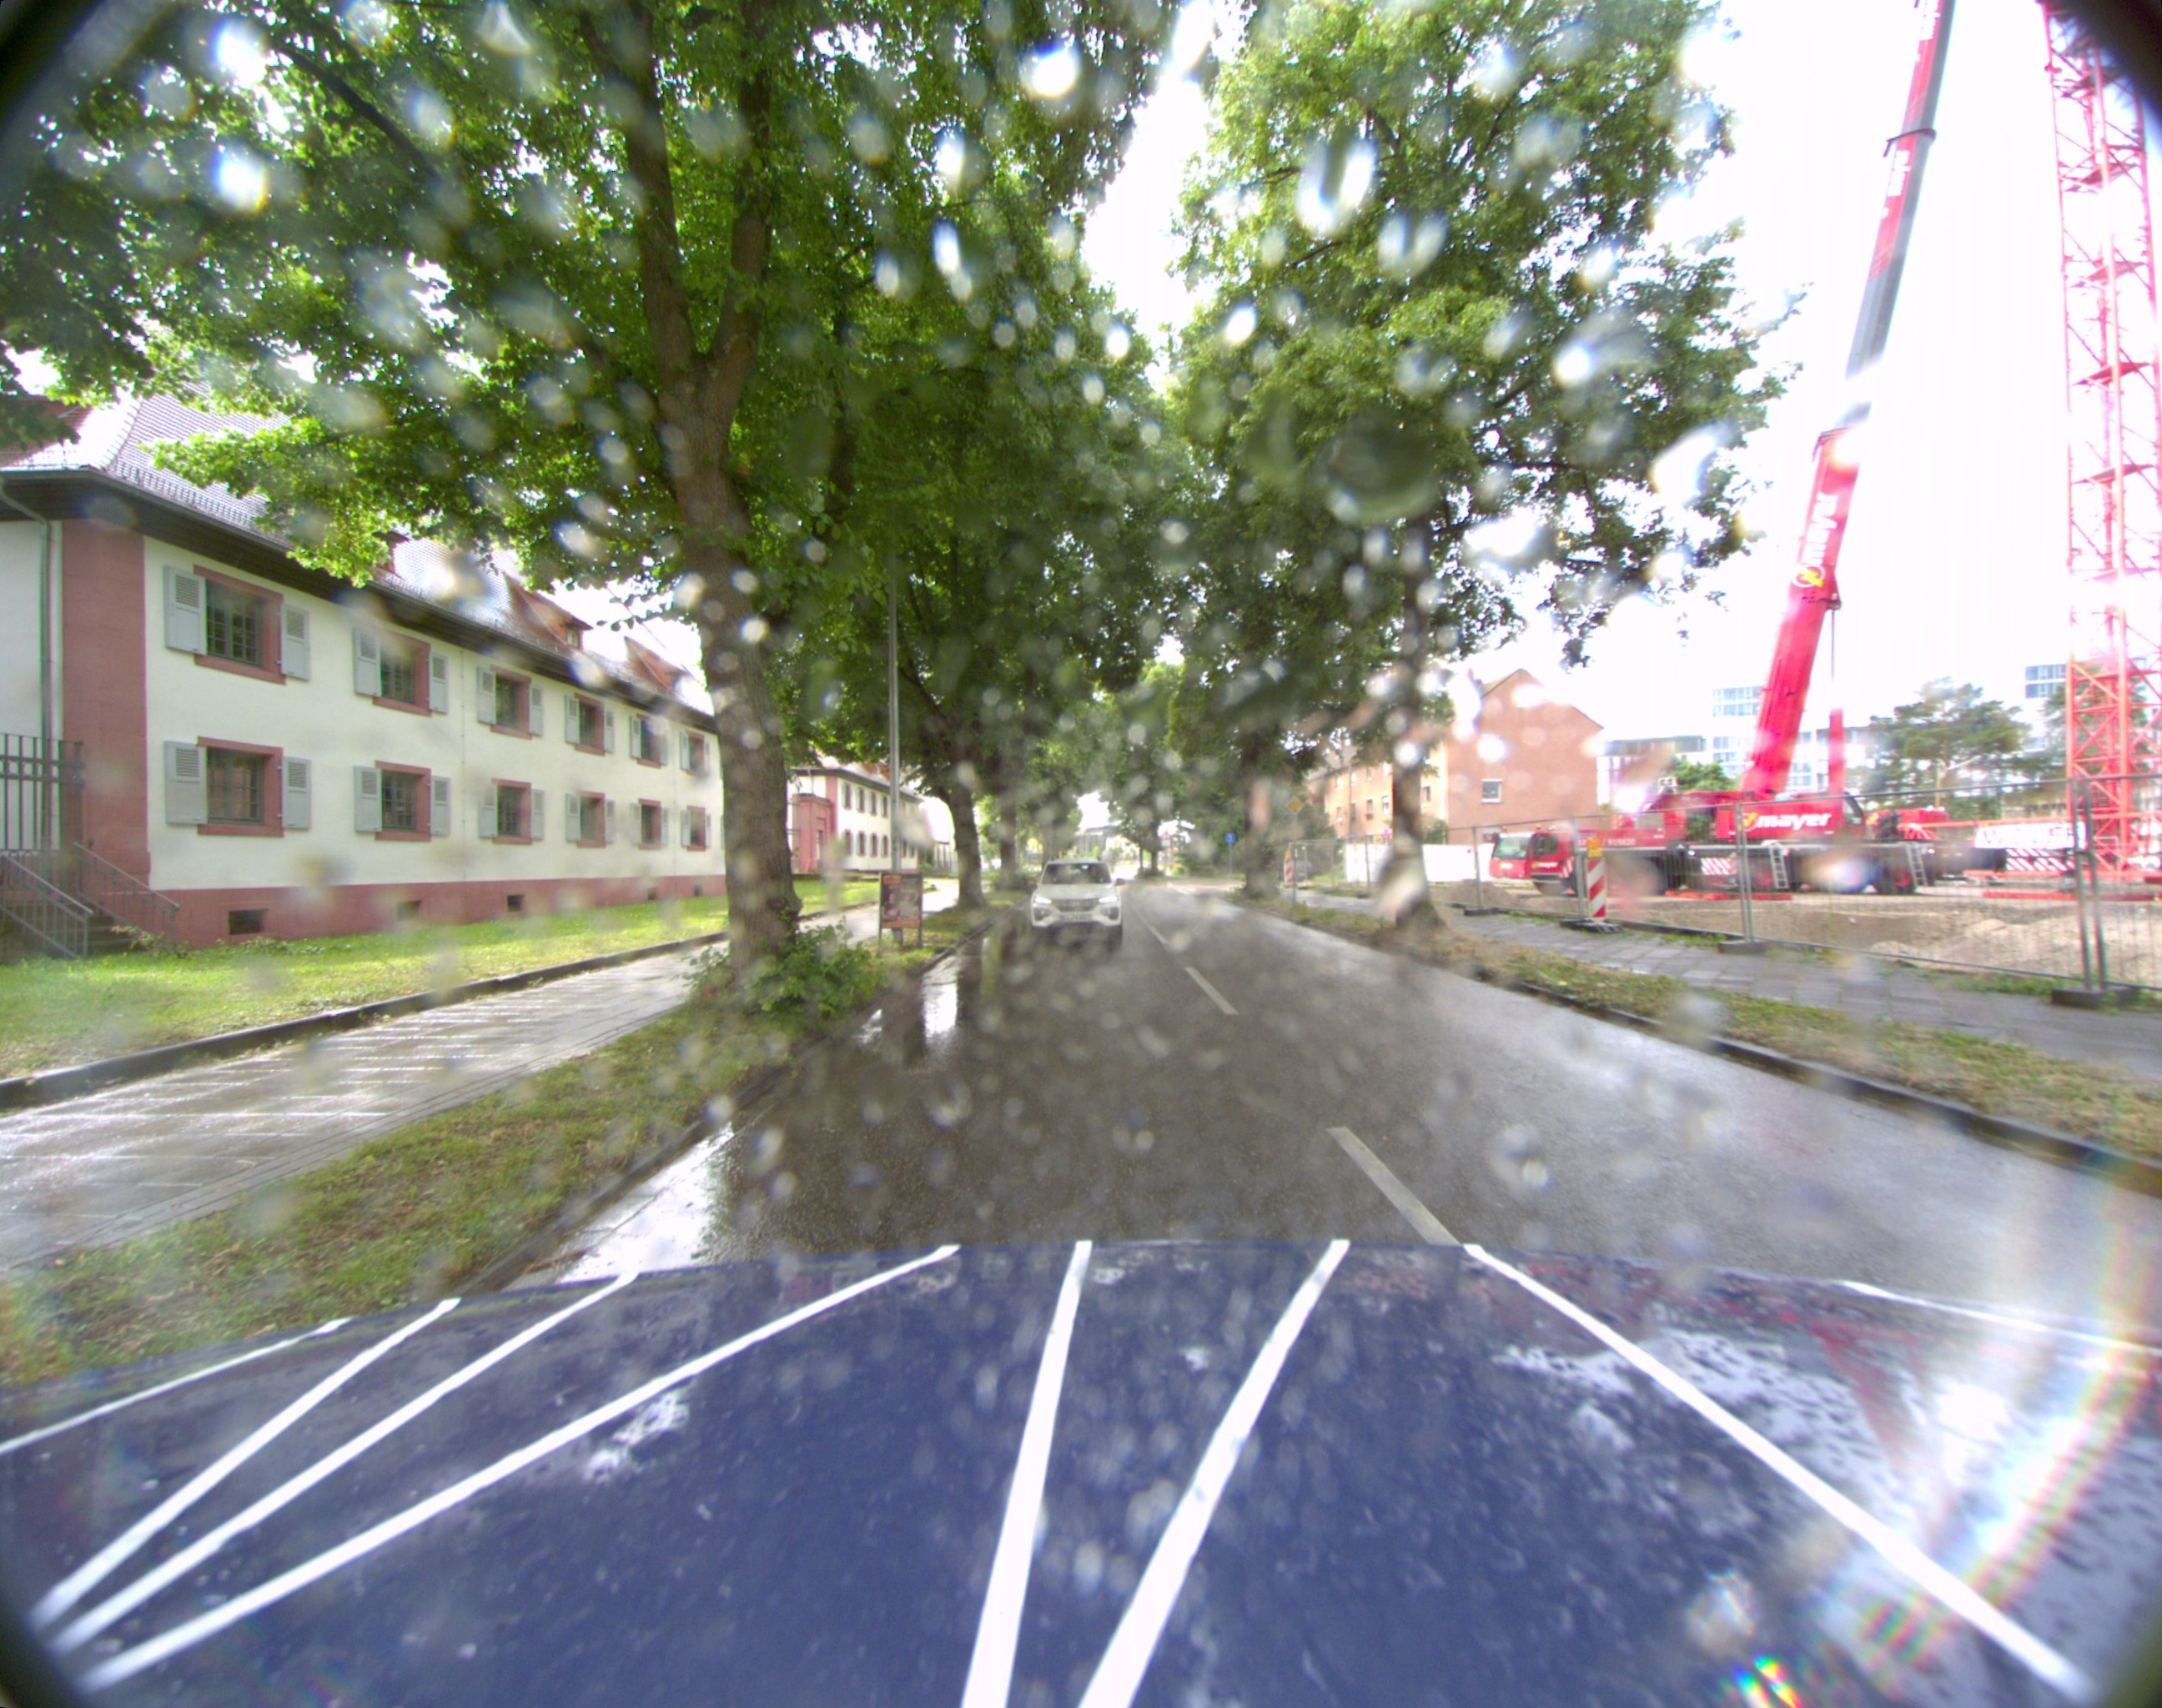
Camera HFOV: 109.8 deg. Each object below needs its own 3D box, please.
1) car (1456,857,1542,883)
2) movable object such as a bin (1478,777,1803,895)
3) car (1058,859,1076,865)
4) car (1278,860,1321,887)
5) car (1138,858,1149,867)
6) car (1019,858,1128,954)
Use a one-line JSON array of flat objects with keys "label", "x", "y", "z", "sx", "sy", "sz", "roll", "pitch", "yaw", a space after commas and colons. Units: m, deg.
[{"label": "car", "x": 23.659, "y": 0.893, "z": 43.050, "sx": 4.067, "sy": 1.405, "sz": 1.726, "roll": 0, "pitch": 0, "yaw": -11}, {"label": "movable object such as a bin", "x": 21.225, "y": -0.616, "z": 29.386, "sx": 9.834, "sy": 4.090, "sz": 3.367, "roll": -1, "pitch": -1, "yaw": 3}, {"label": "car", "x": -2.977, "y": 1.725, "z": 158.373, "sx": 3.451, "sy": 1.229, "sz": 1.496, "roll": -1, "pitch": 0, "yaw": 21}, {"label": "car", "x": 13.731, "y": 1.203, "z": 47.979, "sx": 1.628, "sy": 1.412, "sz": 3.869, "roll": -2, "pitch": 1, "yaw": 2}, {"label": "car", "x": 11.535, "y": 1.545, "z": 140.102, "sx": 1.891, "sy": 1.703, "sz": 4.230, "roll": 0, "pitch": 0, "yaw": 1}, {"label": "car", "x": -0.083, "y": 0.858, "z": 14.174, "sx": 1.736, "sy": 1.525, "sz": 3.617, "roll": -2, "pitch": 0, "yaw": 1}]
